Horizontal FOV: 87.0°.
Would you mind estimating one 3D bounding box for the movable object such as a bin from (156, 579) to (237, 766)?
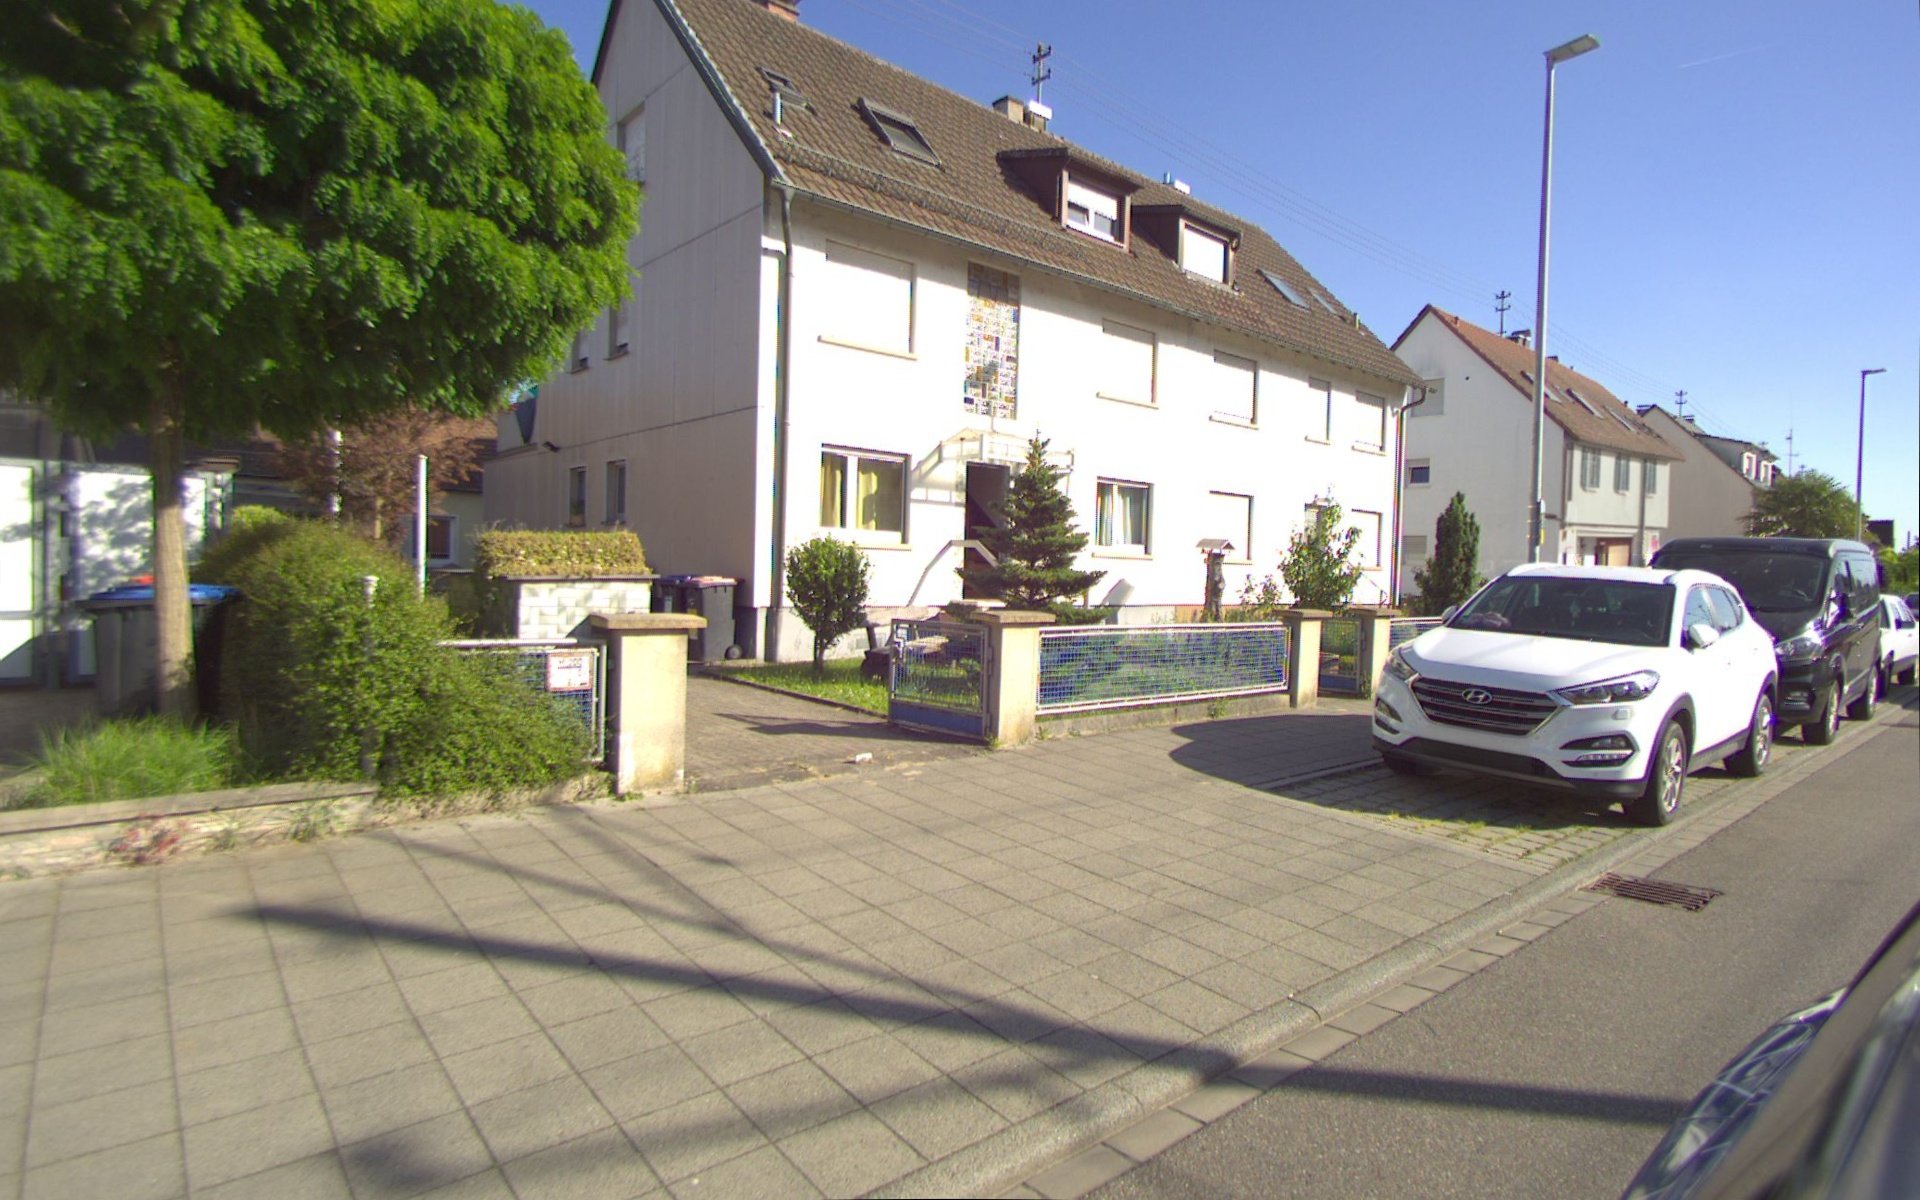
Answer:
[{"bbox_3d":[-4.569,0.419,6.061,0.212,1.076,0.320,1,2,20],"label":"movable object such as a bin"}]

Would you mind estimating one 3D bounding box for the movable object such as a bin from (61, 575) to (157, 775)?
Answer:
[{"bbox_3d":[-4.901,0.414,5.835,0.276,1.108,0.328,1,2,20],"label":"movable object such as a bin"}]

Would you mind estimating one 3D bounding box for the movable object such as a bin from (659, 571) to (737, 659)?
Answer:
[{"bbox_3d":[-3.410,0.173,13.149,0.568,1.073,1.062,0,2,-40],"label":"movable object such as a bin"}]

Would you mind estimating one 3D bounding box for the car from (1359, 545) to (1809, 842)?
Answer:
[{"bbox_3d":[4.999,0.485,7.849,4.243,1.665,1.729,-1,4,-41],"label":"car"}]

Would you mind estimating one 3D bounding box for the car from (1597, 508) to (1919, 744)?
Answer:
[{"bbox_3d":[9.435,0.161,11.751,5.243,2.170,1.964,-1,3,-41],"label":"car"}]

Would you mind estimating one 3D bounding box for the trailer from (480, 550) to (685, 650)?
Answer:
[{"bbox_3d":[-5.720,-0.072,15.105,1.606,1.204,3.749,0,4,-42],"label":"trailer"}]

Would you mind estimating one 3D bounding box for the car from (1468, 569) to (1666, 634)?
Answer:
[{"bbox_3d":[17.247,-0.031,28.898,2.160,1.675,4.419,-1,2,-43],"label":"car"}]

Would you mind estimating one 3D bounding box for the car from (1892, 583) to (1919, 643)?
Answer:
[{"bbox_3d":[26.577,0.366,27.122,4.644,1.517,1.781,0,2,-40],"label":"car"}]

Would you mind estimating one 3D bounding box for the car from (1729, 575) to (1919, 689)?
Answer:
[{"bbox_3d":[14.299,0.418,16.258,5.513,1.461,1.858,0,4,-40],"label":"car"}]
